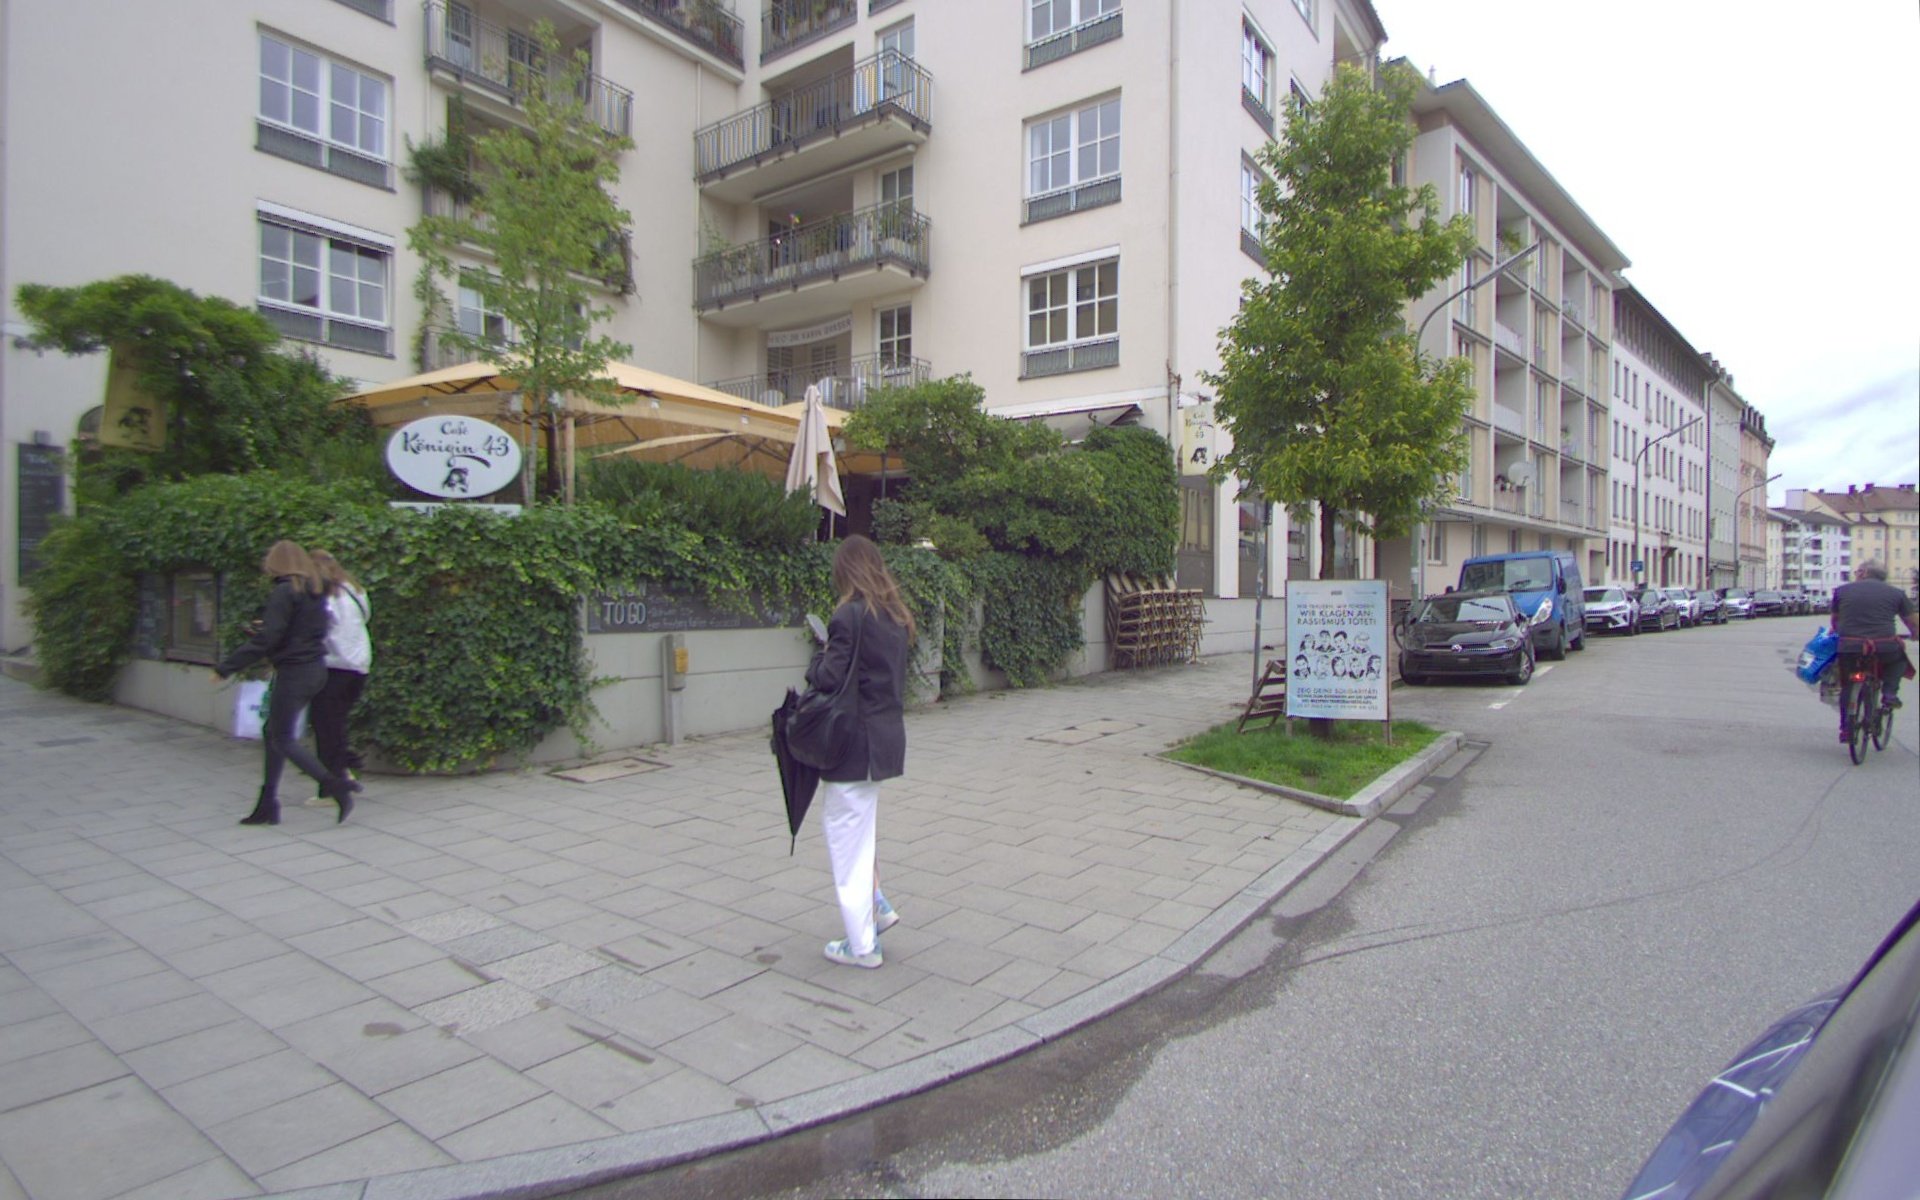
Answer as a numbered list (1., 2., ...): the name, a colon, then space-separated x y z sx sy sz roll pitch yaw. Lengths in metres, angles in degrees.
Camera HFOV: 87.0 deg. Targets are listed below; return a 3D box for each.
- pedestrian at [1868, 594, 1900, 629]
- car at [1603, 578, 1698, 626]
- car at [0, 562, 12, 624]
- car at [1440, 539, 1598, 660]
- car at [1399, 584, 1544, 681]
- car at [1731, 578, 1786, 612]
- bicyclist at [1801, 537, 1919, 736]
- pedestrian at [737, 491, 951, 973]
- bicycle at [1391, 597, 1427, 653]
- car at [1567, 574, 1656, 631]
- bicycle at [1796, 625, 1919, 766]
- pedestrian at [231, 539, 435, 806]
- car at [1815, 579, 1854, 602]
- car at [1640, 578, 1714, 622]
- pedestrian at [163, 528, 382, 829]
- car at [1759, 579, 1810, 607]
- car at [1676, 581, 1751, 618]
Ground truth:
1. pedestrian: 80.949 1.004 88.674 1.926 2.987 1.992 2 1 45
2. car: 23.267 0.071 34.035 1.772 1.448 4.618 -5 -3 44
3. car: -25.611 -0.190 24.677 1.568 1.549 3.435 1 1 37
4. car: 12.175 -0.073 21.863 2.104 2.241 4.961 -5 -1 38
5. car: 8.577 0.482 16.799 1.707 1.412 3.953 -3 -1 33
6. car: 38.343 -0.229 48.569 3.324 1.536 1.615 0 -3 -45
7. bicyclist: 7.984 0.291 8.887 0.875 1.629 1.034 1 0 42
8. pedestrian: -0.442 0.457 4.014 0.538 1.718 0.661 2 1 25
9. bicycle: 9.213 0.487 20.756 0.561 1.083 1.770 1 1 27
10. car: 19.673 0.094 30.473 1.771 1.543 4.244 -4 -3 38
11. bicycle: 8.015 0.774 8.935 0.876 1.032 2.157 1 1 42
12. pedestrian: -4.069 0.429 6.629 0.815 1.626 0.808 1 2 6
13. car: 62.020 -0.637 71.734 1.764 1.560 3.935 -3 -2 45
14. car: 26.777 -0.017 37.741 1.700 1.487 4.057 -5 -3 42
15. pedestrian: -3.999 0.416 5.931 0.816 1.648 0.679 1 2 9
16. car: 45.076 -0.360 55.310 1.872 1.466 4.627 -1 -1 43
17. car: 30.543 -0.018 40.982 1.827 1.399 4.418 -2 -2 45
